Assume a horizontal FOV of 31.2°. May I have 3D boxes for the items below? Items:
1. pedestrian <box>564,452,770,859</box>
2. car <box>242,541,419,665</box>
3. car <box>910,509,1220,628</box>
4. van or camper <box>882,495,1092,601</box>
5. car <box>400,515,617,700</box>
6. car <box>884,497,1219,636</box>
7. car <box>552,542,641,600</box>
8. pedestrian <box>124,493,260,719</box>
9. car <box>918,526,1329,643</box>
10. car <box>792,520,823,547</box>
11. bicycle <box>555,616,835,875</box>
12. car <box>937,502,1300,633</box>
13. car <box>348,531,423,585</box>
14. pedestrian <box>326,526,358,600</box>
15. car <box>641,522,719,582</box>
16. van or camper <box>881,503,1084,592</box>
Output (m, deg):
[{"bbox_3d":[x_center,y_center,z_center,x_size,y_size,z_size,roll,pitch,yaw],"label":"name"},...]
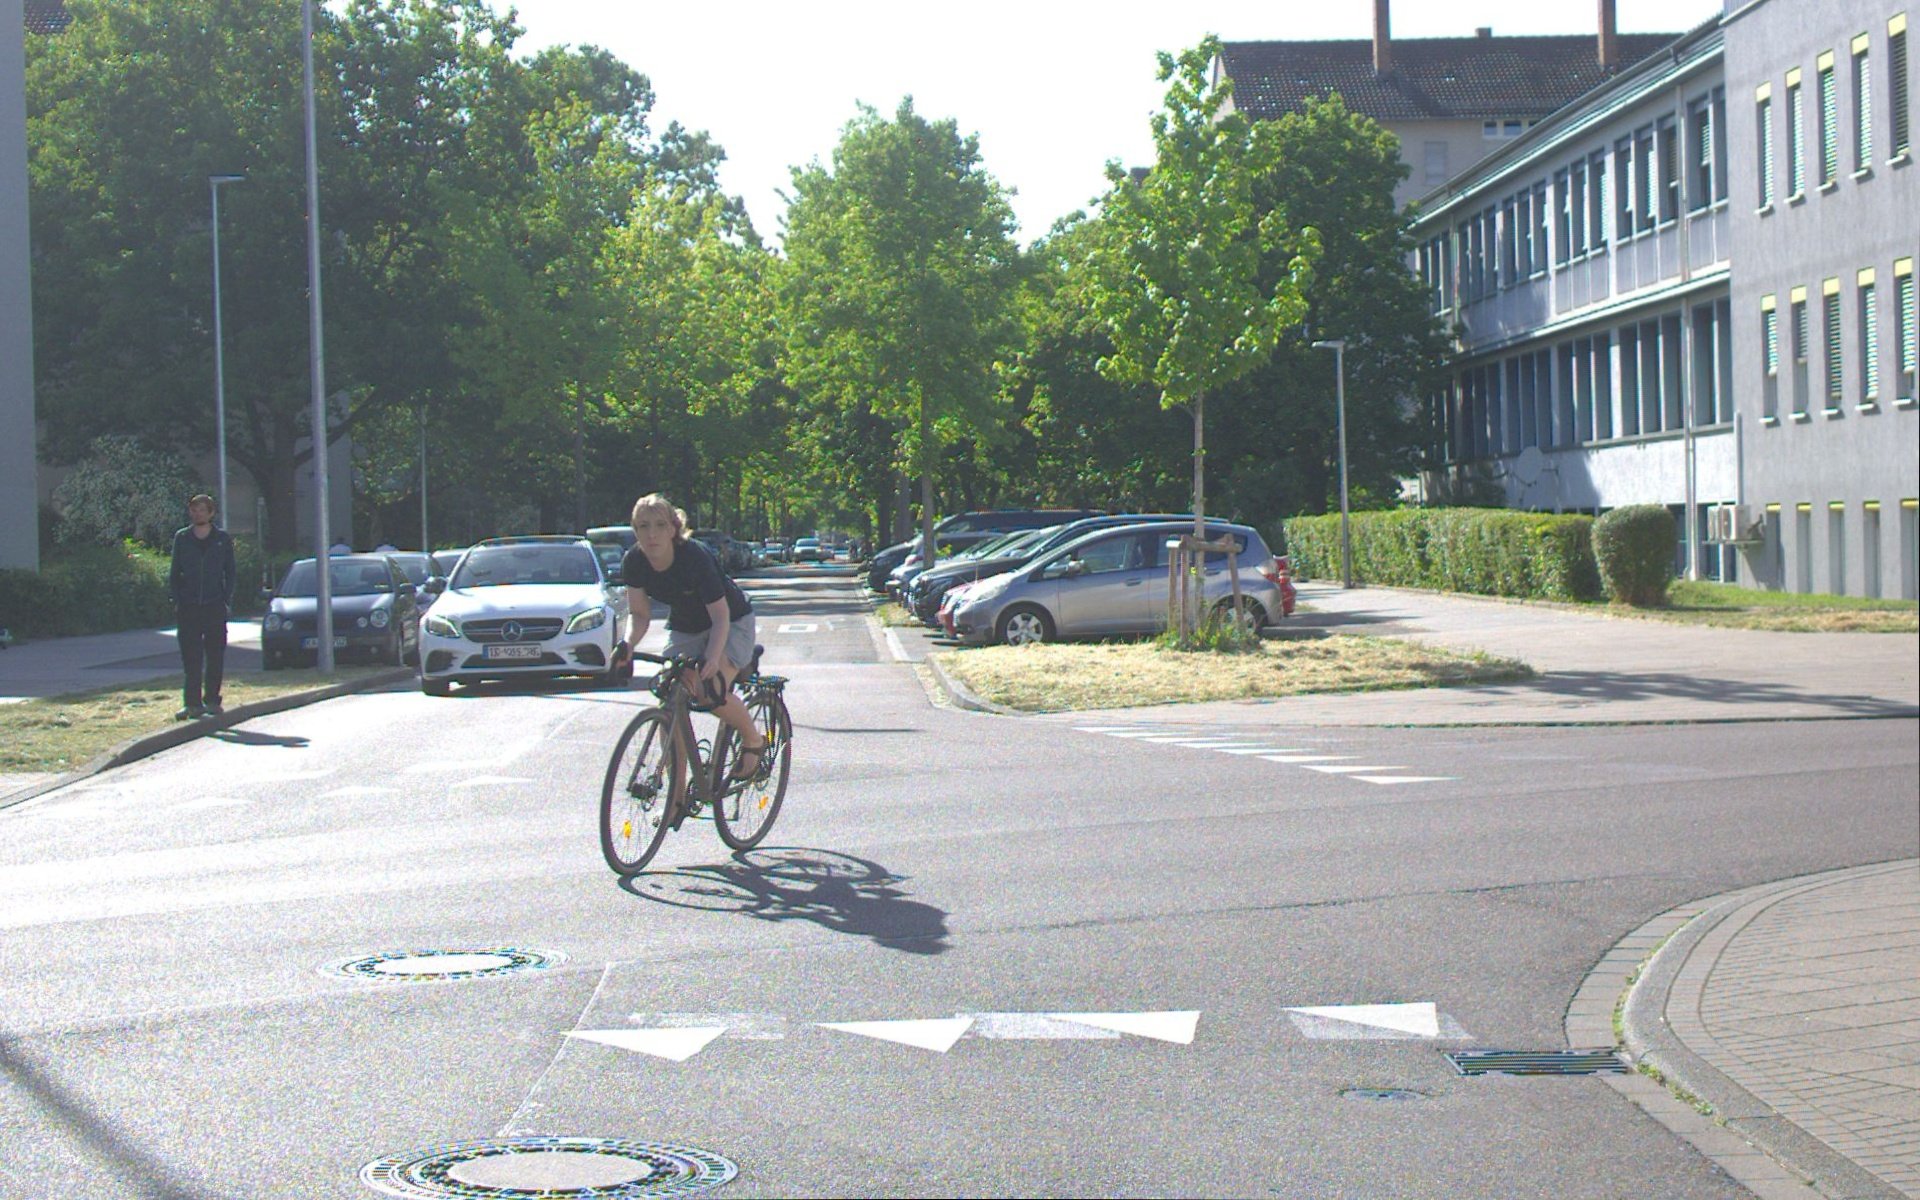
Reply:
[{"bbox_3d":[-1.216,0.218,14.438,0.690,1.634,1.046,1,0,4],"label":"pedestrian"},{"bbox_3d":[-7.648,0.015,42.053,1.667,1.415,4.001,1,1,-4],"label":"car"},{"bbox_3d":[1.449,-0.444,48.687,4.203,1.590,2.000,1,1,-3],"label":"car"},{"bbox_3d":[0.495,-1.007,66.423,3.986,2.007,2.000,0,1,-2],"label":"van or camper"},{"bbox_3d":[-4.301,0.006,33.330,1.885,1.499,4.640,-2,3,-5],"label":"car"},{"bbox_3d":[1.179,-0.447,45.859,4.278,1.758,2.000,1,1,-4],"label":"car"},{"bbox_3d":[-9.137,-0.736,86.648,1.842,1.393,4.000,-1,1,-1],"label":"car"},{"bbox_3d":[-5.977,0.036,26.802,0.870,1.708,0.980,-1,1,-5],"label":"pedestrian"},{"bbox_3d":[1.995,-0.203,42.684,4.869,1.270,1.729,-2,1,-6],"label":"car"},{"bbox_3d":[-10.158,-4.466,229.594,1.993,1.741,4.001,-1,2,-2],"label":"car"},{"bbox_3d":[-1.104,0.590,14.787,0.549,1.008,1.918,0,1,16],"label":"bicycle"},{"bbox_3d":[1.841,-0.387,40.638,4.088,1.487,1.729,-1,1,-4],"label":"car"},{"bbox_3d":[-13.548,-1.000,81.132,1.274,1.221,2.663,-1,2,0],"label":"car"},{"bbox_3d":[-14.048,-0.847,78.117,0.634,1.659,0.700,-1,1,-7],"label":"pedestrian"},{"bbox_3d":[-9.779,-1.666,120.197,1.994,2.007,3.999,1,1,6],"label":"car"},{"bbox_3d":[0.425,-1.053,69.181,3.986,1.766,2.000,0,1,-2],"label":"van or camper"}]
